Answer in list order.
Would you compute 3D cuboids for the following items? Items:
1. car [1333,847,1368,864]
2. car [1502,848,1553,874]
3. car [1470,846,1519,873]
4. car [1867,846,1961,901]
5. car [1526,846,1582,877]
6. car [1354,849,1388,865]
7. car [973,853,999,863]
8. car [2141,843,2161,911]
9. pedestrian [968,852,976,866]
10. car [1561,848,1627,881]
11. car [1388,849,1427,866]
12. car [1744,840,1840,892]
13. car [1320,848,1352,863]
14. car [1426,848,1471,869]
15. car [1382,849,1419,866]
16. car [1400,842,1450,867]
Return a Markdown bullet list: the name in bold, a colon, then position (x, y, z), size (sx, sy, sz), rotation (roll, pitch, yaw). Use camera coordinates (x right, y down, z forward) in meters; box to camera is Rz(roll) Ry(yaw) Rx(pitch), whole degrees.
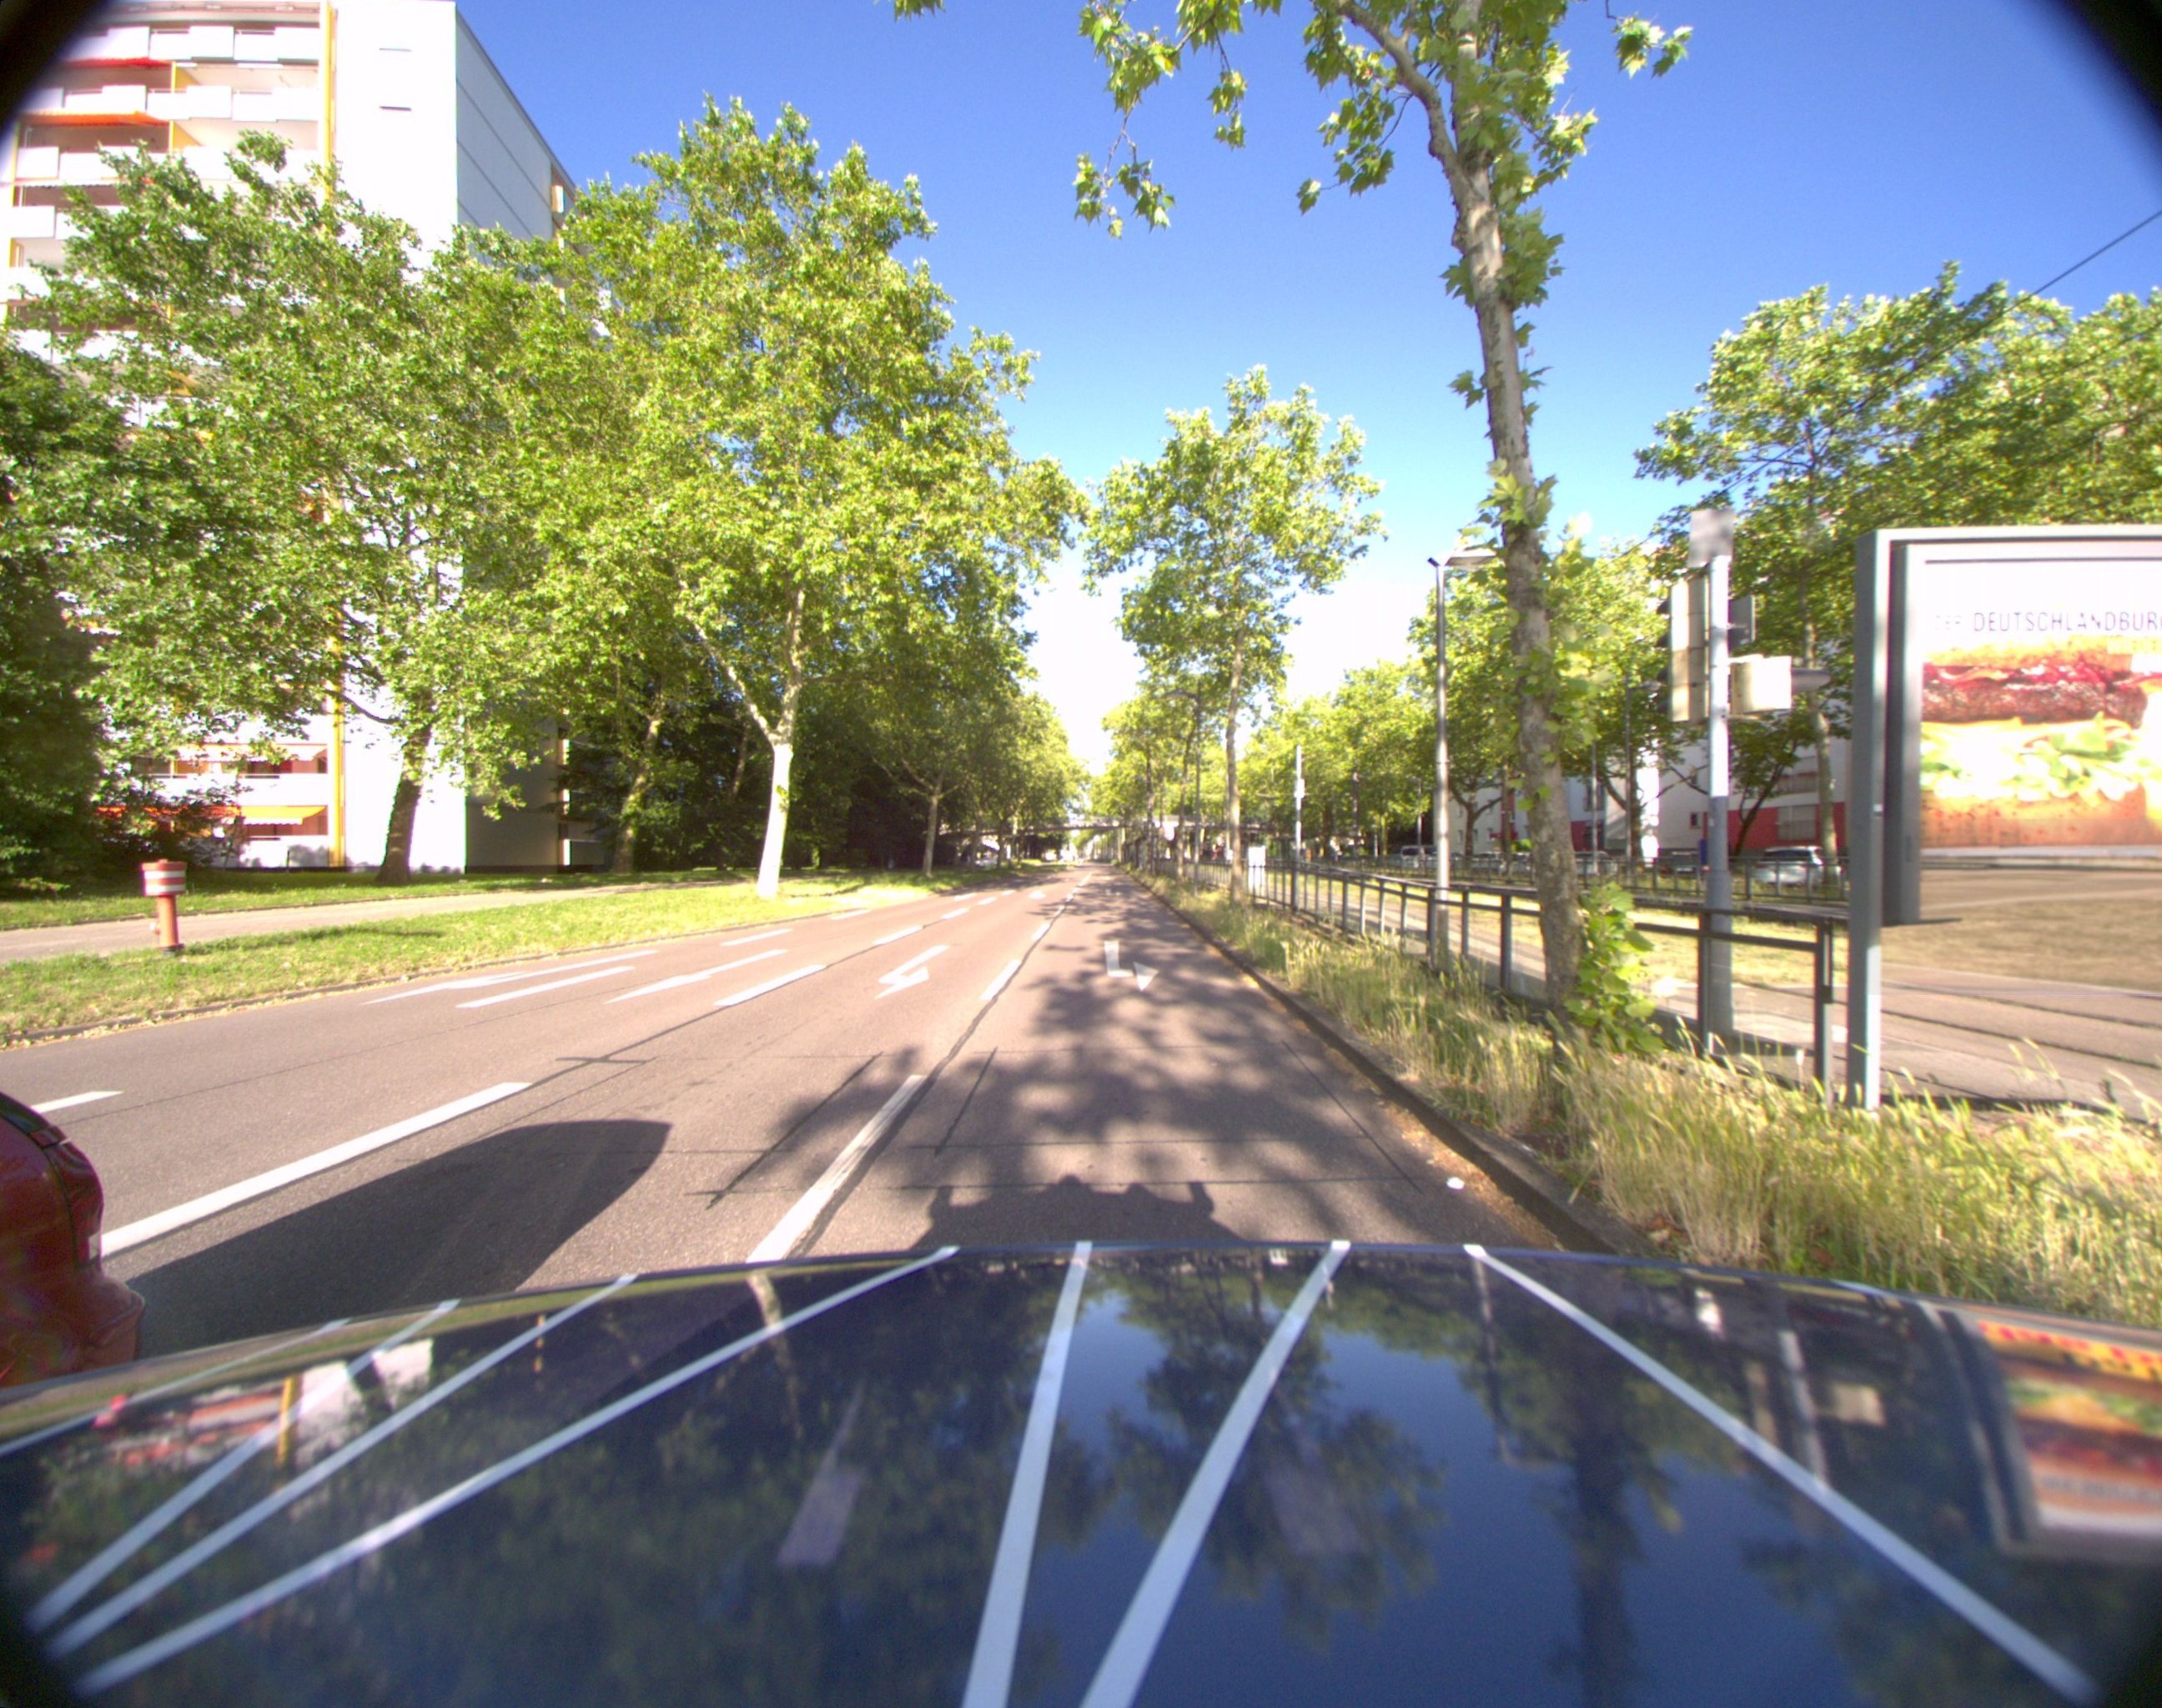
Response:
- **car**: position (26.056, 0.136, 73.436), size (3.835, 1.561, 1.597), rotation (-1, 1, -43)
- **car**: position (26.210, 0.416, 44.569), size (3.493, 1.321, 1.476), rotation (-3, 0, -41)
- **car**: position (25.833, 0.334, 47.438), size (3.493, 1.417, 1.558), rotation (-3, -1, -42)
- **car**: position (25.237, 0.541, 22.988), size (3.770, 1.420, 1.555), rotation (-3, 1, -37)
- **car**: position (25.744, 0.390, 41.319), size (3.402, 1.499, 1.461), rotation (-3, 1, -37)
- **car**: position (26.594, 0.270, 69.655), size (3.494, 1.312, 1.476), rotation (-1, 1, -41)
- **car**: position (-15.175, 0.591, 121.333), size (3.999, 1.465, 1.797), rotation (-3, 1, -8)
- **car**: position (24.588, 0.533, 16.240), size (4.007, 1.479, 1.689), rotation (-3, 1, -44)
- **pedestrian**: position (-16.101, 0.733, 112.486), size (0.918, 2.002, 0.962), rotation (-2, 1, 4)
- **car**: position (25.518, 0.519, 37.756), size (3.890, 1.406, 1.486), rotation (-3, 1, -37)
- **car**: position (25.936, 0.274, 60.270), size (3.494, 1.336, 1.476), rotation (-1, 1, -41)
- **car**: position (25.222, 0.404, 26.917), size (4.007, 1.586, 1.810), rotation (-3, 1, -37)
- **car**: position (26.691, 0.131, 79.431), size (3.742, 1.517, 1.597), rotation (-1, 1, -43)
- **car**: position (26.034, 0.326, 53.842), size (3.494, 1.395, 1.623), rotation (-1, 1, -41)
- **car**: position (26.890, 0.288, 63.969), size (3.494, 1.293, 1.476), rotation (-1, 1, -41)
- **car**: position (25.783, 0.018, 56.897), size (4.056, 1.802, 1.864), rotation (-1, 1, -40)
